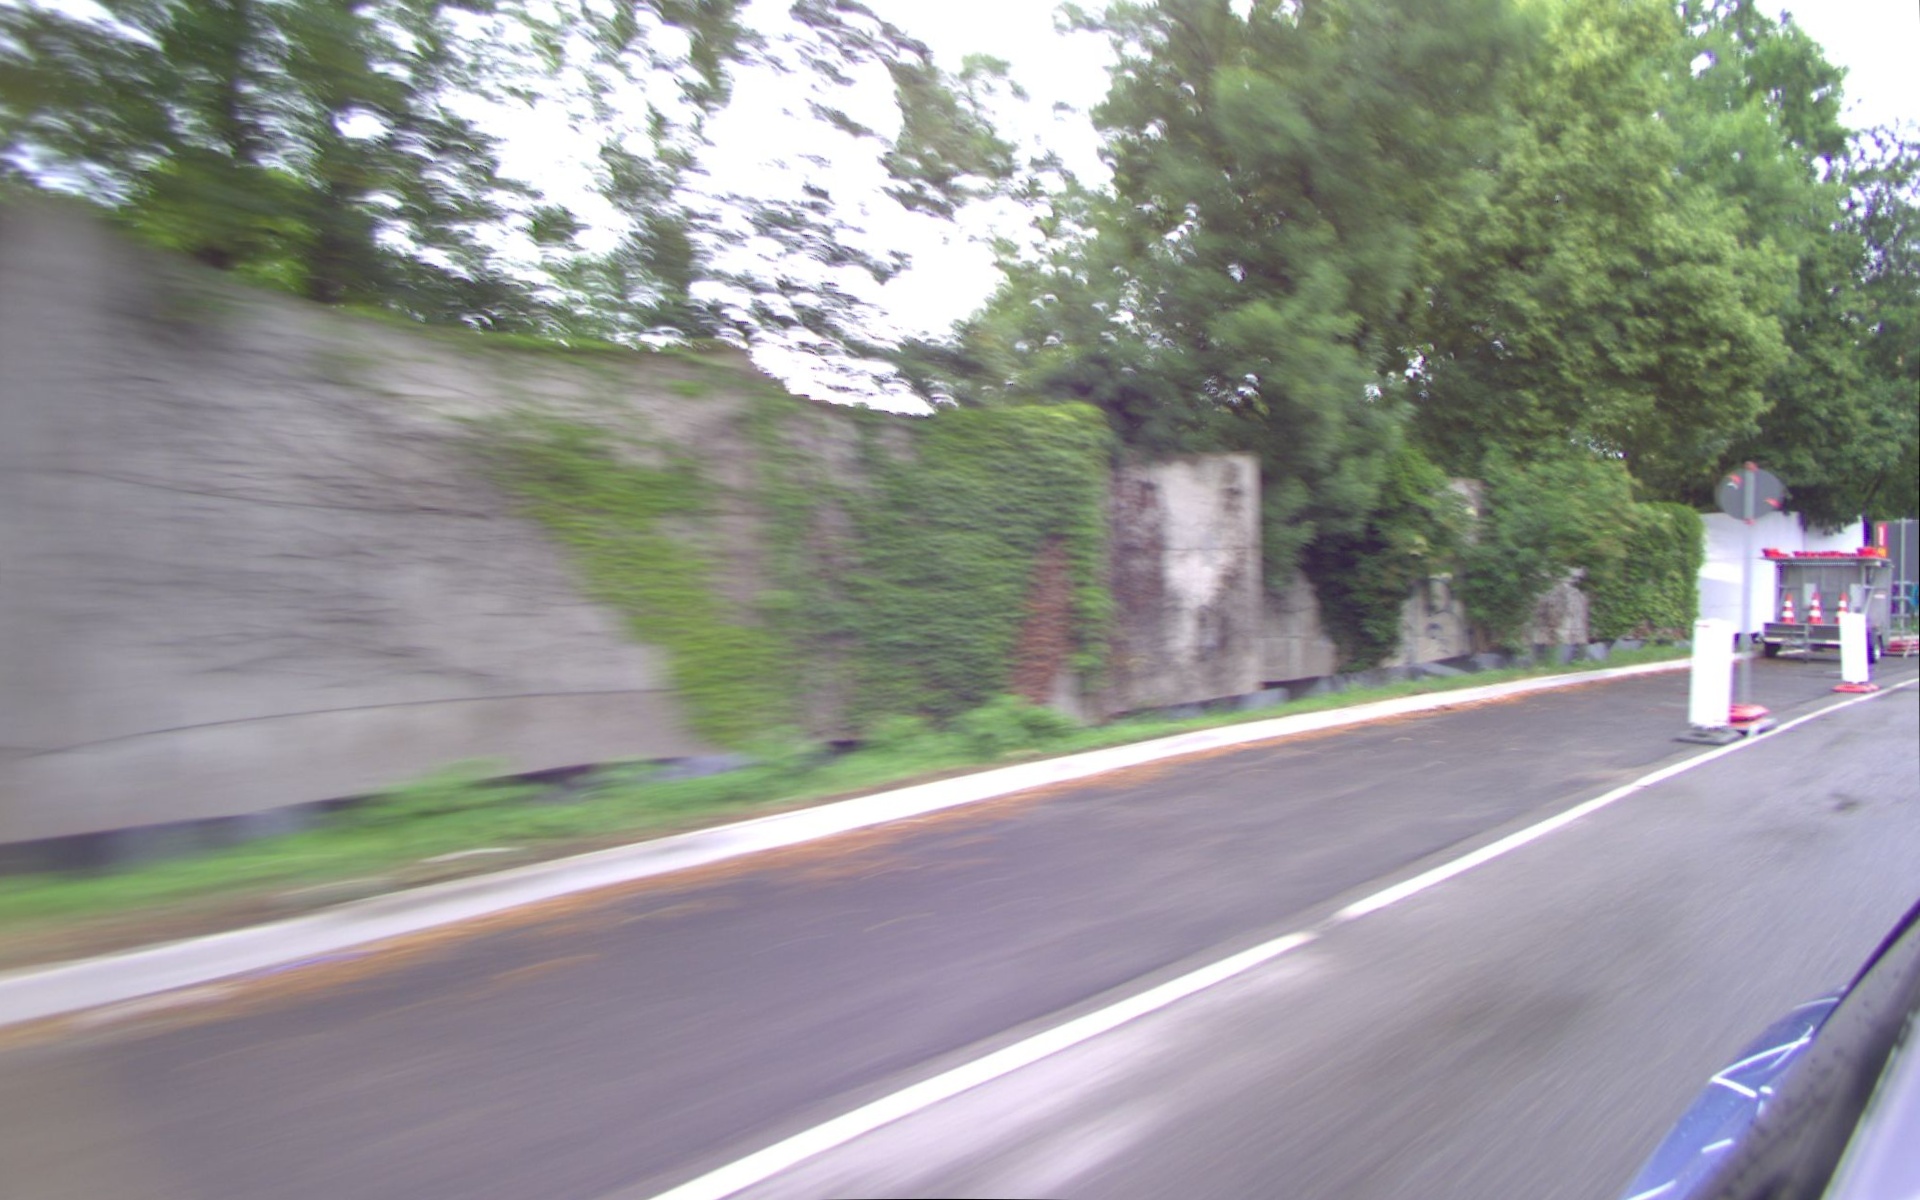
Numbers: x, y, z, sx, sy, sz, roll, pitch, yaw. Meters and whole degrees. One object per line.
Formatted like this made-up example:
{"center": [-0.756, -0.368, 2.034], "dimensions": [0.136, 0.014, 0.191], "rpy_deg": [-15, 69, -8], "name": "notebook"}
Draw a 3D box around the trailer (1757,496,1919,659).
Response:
{"center": [22.404, -0.557, 25.229], "dimensions": [5.845, 3.634, 2.316], "rpy_deg": [-1, 1, -34], "name": "trailer"}
